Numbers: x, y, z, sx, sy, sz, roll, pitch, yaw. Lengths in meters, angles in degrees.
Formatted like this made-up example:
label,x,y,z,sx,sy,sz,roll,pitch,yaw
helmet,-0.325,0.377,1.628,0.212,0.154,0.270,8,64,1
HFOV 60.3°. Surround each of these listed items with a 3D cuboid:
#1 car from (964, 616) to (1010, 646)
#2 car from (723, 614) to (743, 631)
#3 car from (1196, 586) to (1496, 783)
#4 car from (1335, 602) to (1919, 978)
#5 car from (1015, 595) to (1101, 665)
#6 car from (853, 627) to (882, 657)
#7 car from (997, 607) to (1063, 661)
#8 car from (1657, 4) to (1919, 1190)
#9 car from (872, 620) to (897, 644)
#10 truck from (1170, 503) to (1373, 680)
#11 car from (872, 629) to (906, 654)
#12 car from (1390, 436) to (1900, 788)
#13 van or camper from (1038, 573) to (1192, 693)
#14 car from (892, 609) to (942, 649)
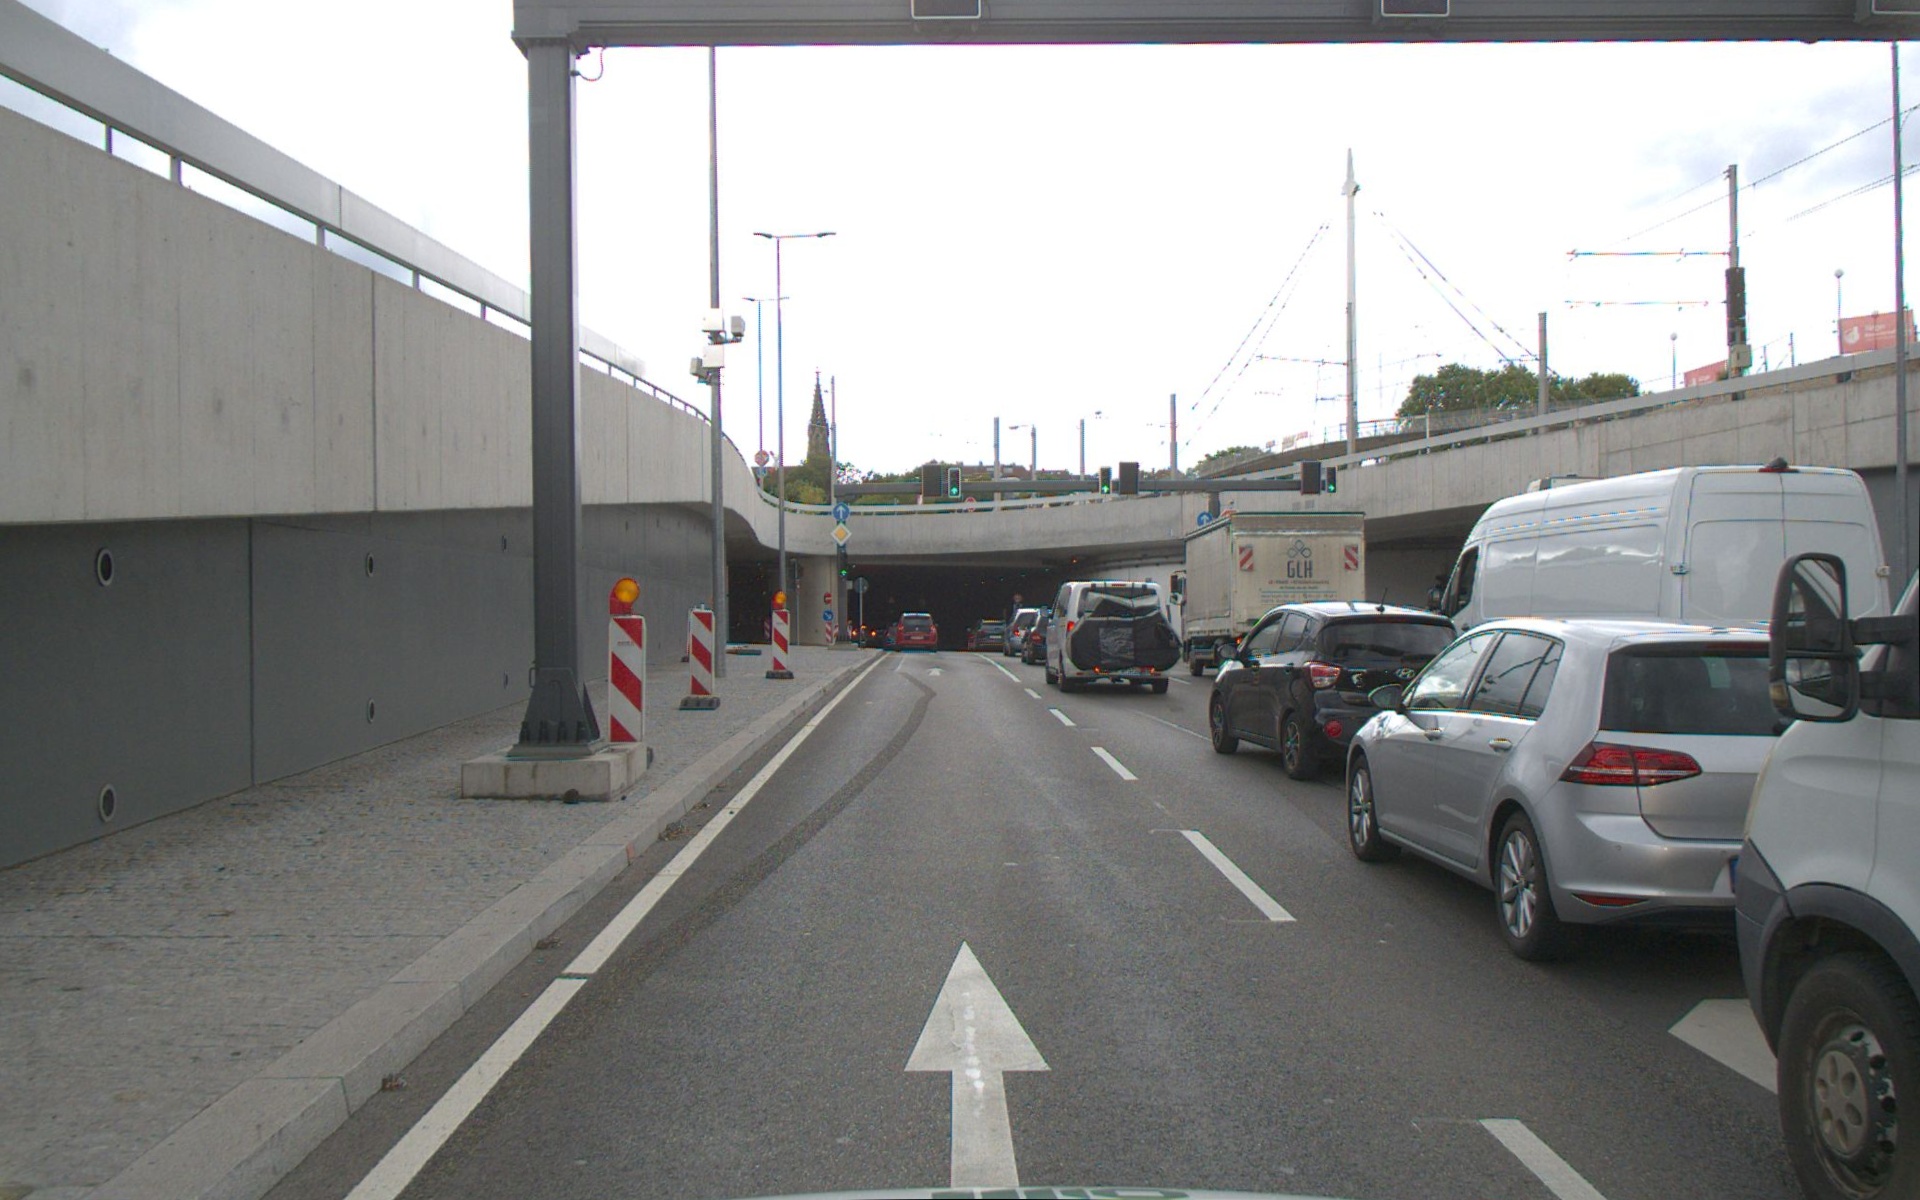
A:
label,x,y,z,sx,sy,sz,roll,pitch,yaw
car,1.164,1.400,73.223,1.632,1.269,3.562,0,-2,-6
car,-20.024,1.972,145.942,1.632,1.466,4.107,0,0,-6
car,3.392,0.671,15.210,1.649,1.572,3.690,1,0,-4
car,3.227,0.741,8.290,1.727,1.407,4.038,0,-1,-1
car,2.542,0.756,43.604,1.782,1.713,3.997,1,0,-3
car,-6.717,3.048,120.406,1.953,2.049,3.999,0,0,-1
car,2.302,1.116,55.180,1.782,1.608,3.997,3,-1,-3
car,3.168,-0.013,2.007,2.016,2.674,5.941,3,-1,0
car,-6.086,2.565,132.791,1.954,1.804,3.997,0,0,-4
truck,6.214,-0.125,34.198,2.596,3.241,7.423,-1,-1,-1
car,-3.787,2.211,87.509,1.480,1.269,3.560,0,-2,-8
car,6.465,0.079,16.957,2.033,2.822,7.324,0,0,-2
van or camper,2.600,0.618,29.058,1.953,1.878,5.504,1,-2,-2
car,-1.750,1.180,66.003,1.629,1.514,3.560,0,-2,-8
